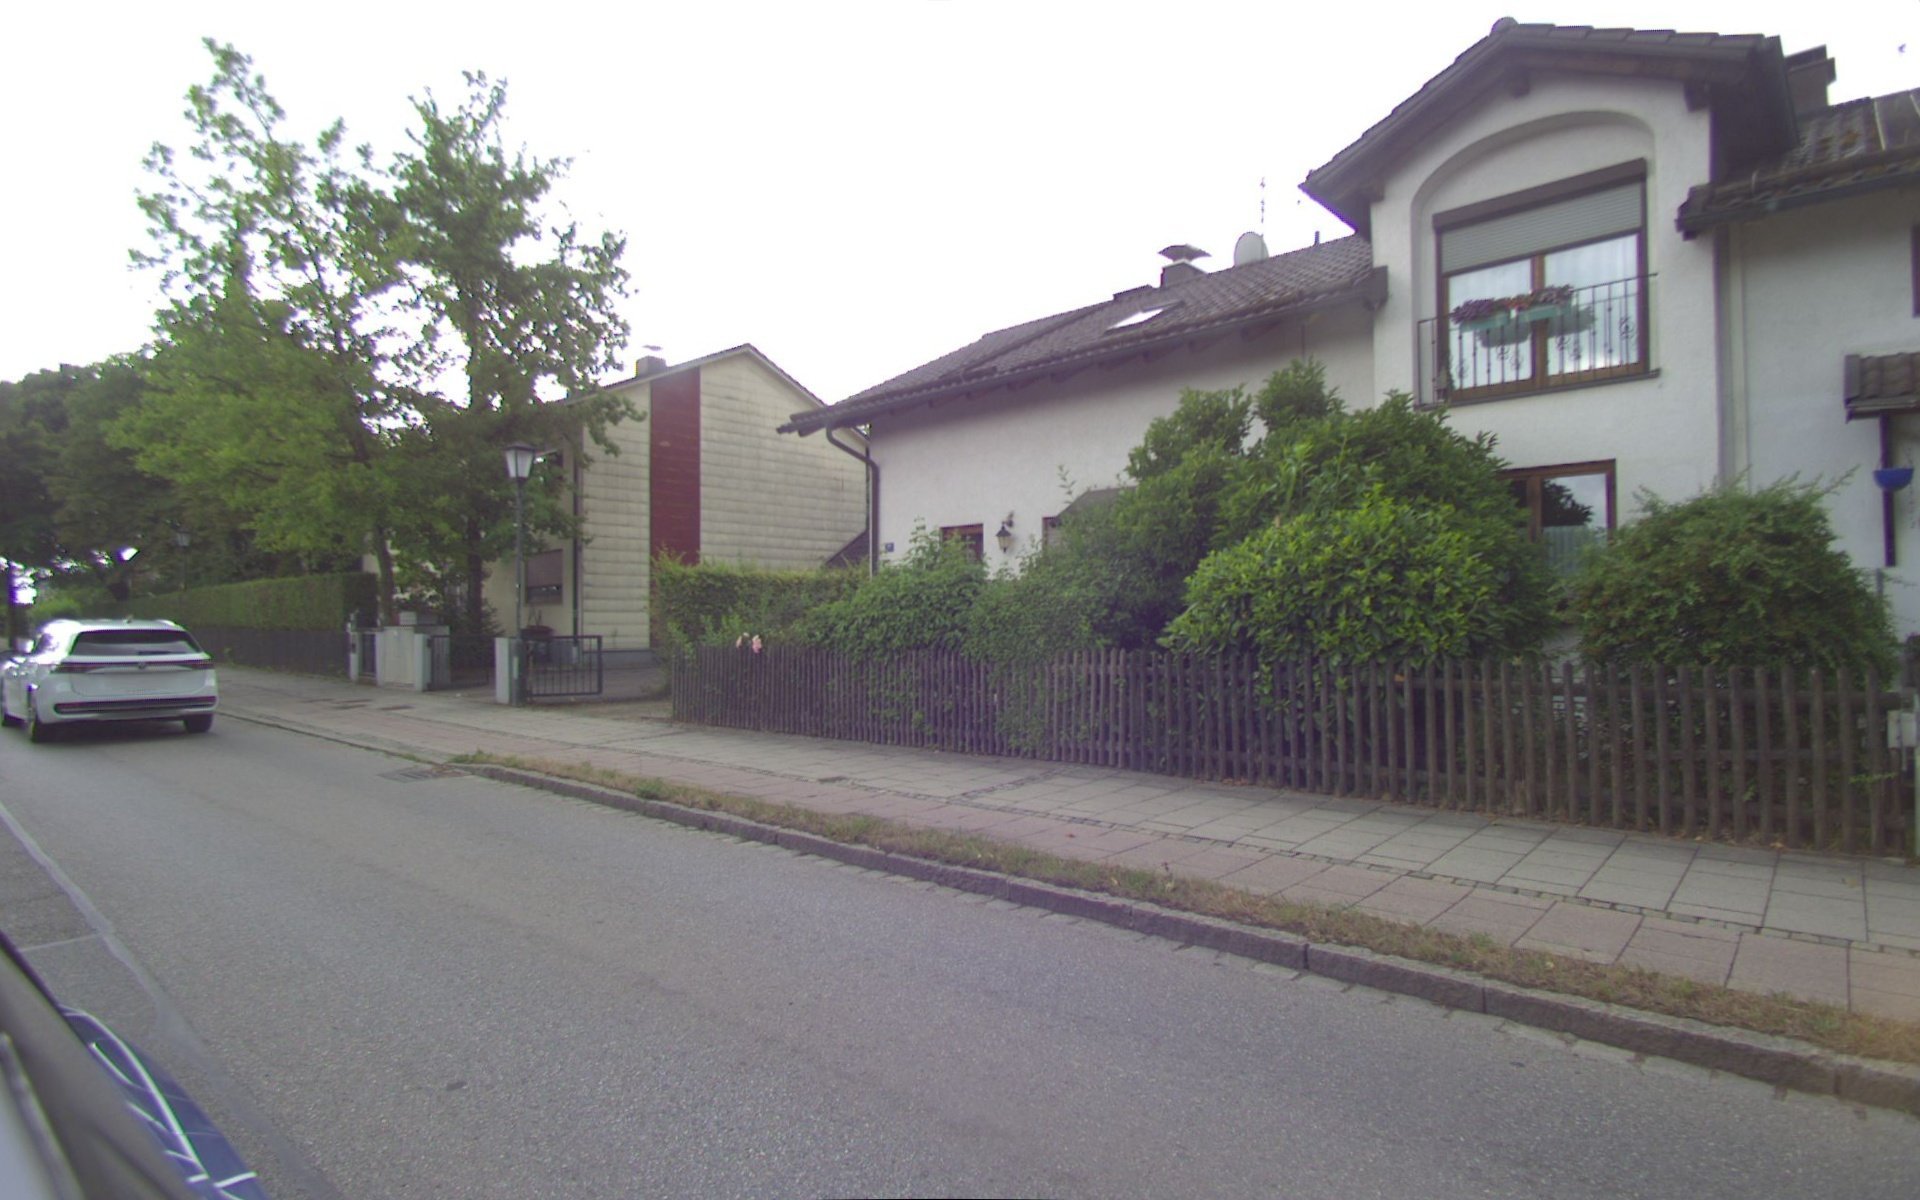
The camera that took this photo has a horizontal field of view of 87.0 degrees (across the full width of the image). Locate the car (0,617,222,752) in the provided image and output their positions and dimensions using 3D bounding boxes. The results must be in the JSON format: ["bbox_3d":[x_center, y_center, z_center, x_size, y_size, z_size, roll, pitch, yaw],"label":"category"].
[{"bbox_3d":[-11.398,0.996,13.391,4.373,1.495,1.733,-1,-1,41],"label":"car"}]

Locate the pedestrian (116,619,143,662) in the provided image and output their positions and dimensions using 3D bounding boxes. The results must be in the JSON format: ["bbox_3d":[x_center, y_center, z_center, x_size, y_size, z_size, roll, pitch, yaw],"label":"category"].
[{"bbox_3d":[-28.517,1.391,34.770,0.563,1.448,0.623,-1,-2,41],"label":"pedestrian"}]
